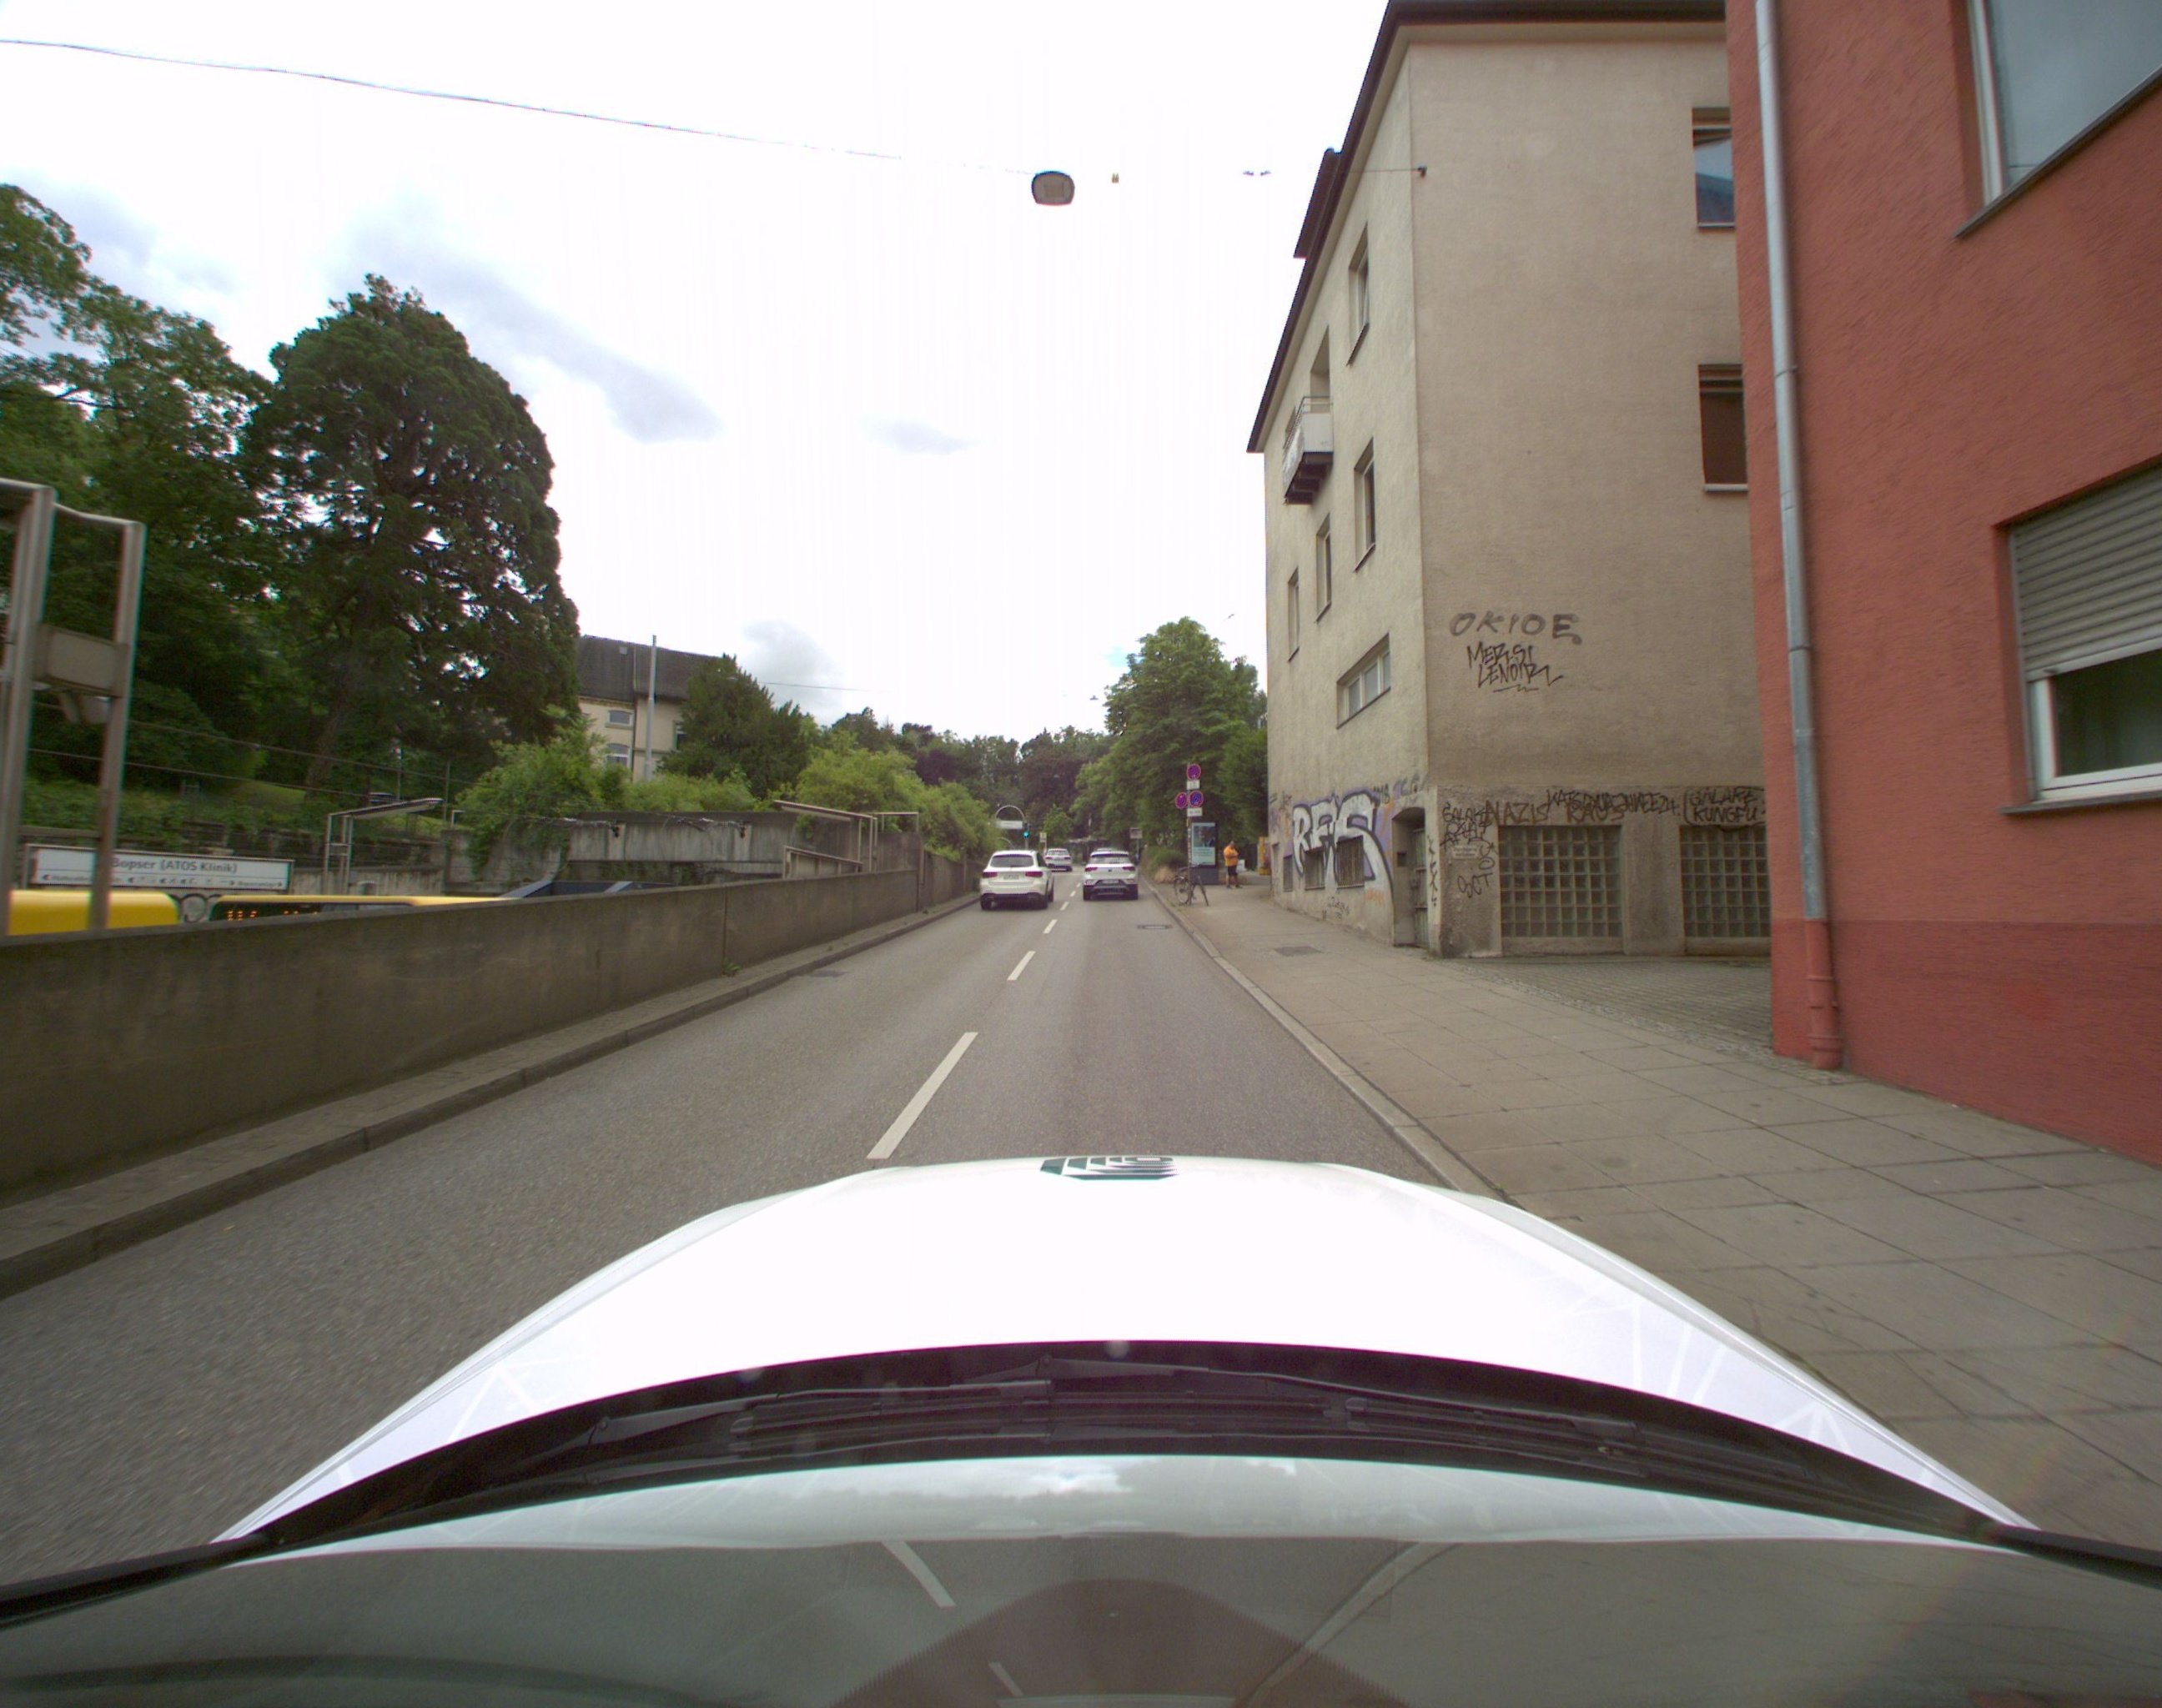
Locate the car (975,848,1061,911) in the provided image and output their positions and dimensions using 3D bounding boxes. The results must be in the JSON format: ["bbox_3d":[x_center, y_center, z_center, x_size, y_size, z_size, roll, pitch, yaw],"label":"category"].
[{"bbox_3d":[-1.733,0.681,23.976,1.869,1.652,4.346,-2,0,4],"label":"car"}]

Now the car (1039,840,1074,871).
[{"bbox_3d":[-1.502,0.104,52.213,1.986,1.882,4.001,1,0,1],"label":"car"}]

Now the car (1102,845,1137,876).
[{"bbox_3d":[2.094,0.338,44.853,1.854,1.632,3.961,0,0,2],"label":"car"}]

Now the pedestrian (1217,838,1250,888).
[{"bbox_3d":[5.347,0.319,28.631,0.833,1.712,0.818,-1,0,-12],"label":"pedestrian"}]

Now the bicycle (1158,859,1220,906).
[{"bbox_3d":[2.824,0.726,21.457,0.641,1.143,2.049,-2,0,-23],"label":"bicycle"}]

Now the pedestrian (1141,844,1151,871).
[{"bbox_3d":[4.161,0.217,52.069,0.611,1.712,0.728,-2,0,5],"label":"pedestrian"}]

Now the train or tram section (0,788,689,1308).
[{"bbox_3d":[-8.728,1.403,8.271,2.939,3.509,12.987,-1,-2,1],"label":"train or tram section"}]

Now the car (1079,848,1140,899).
[{"bbox_3d":[0.981,0.609,27.052,1.857,1.556,3.897,1,0,3],"label":"car"}]
